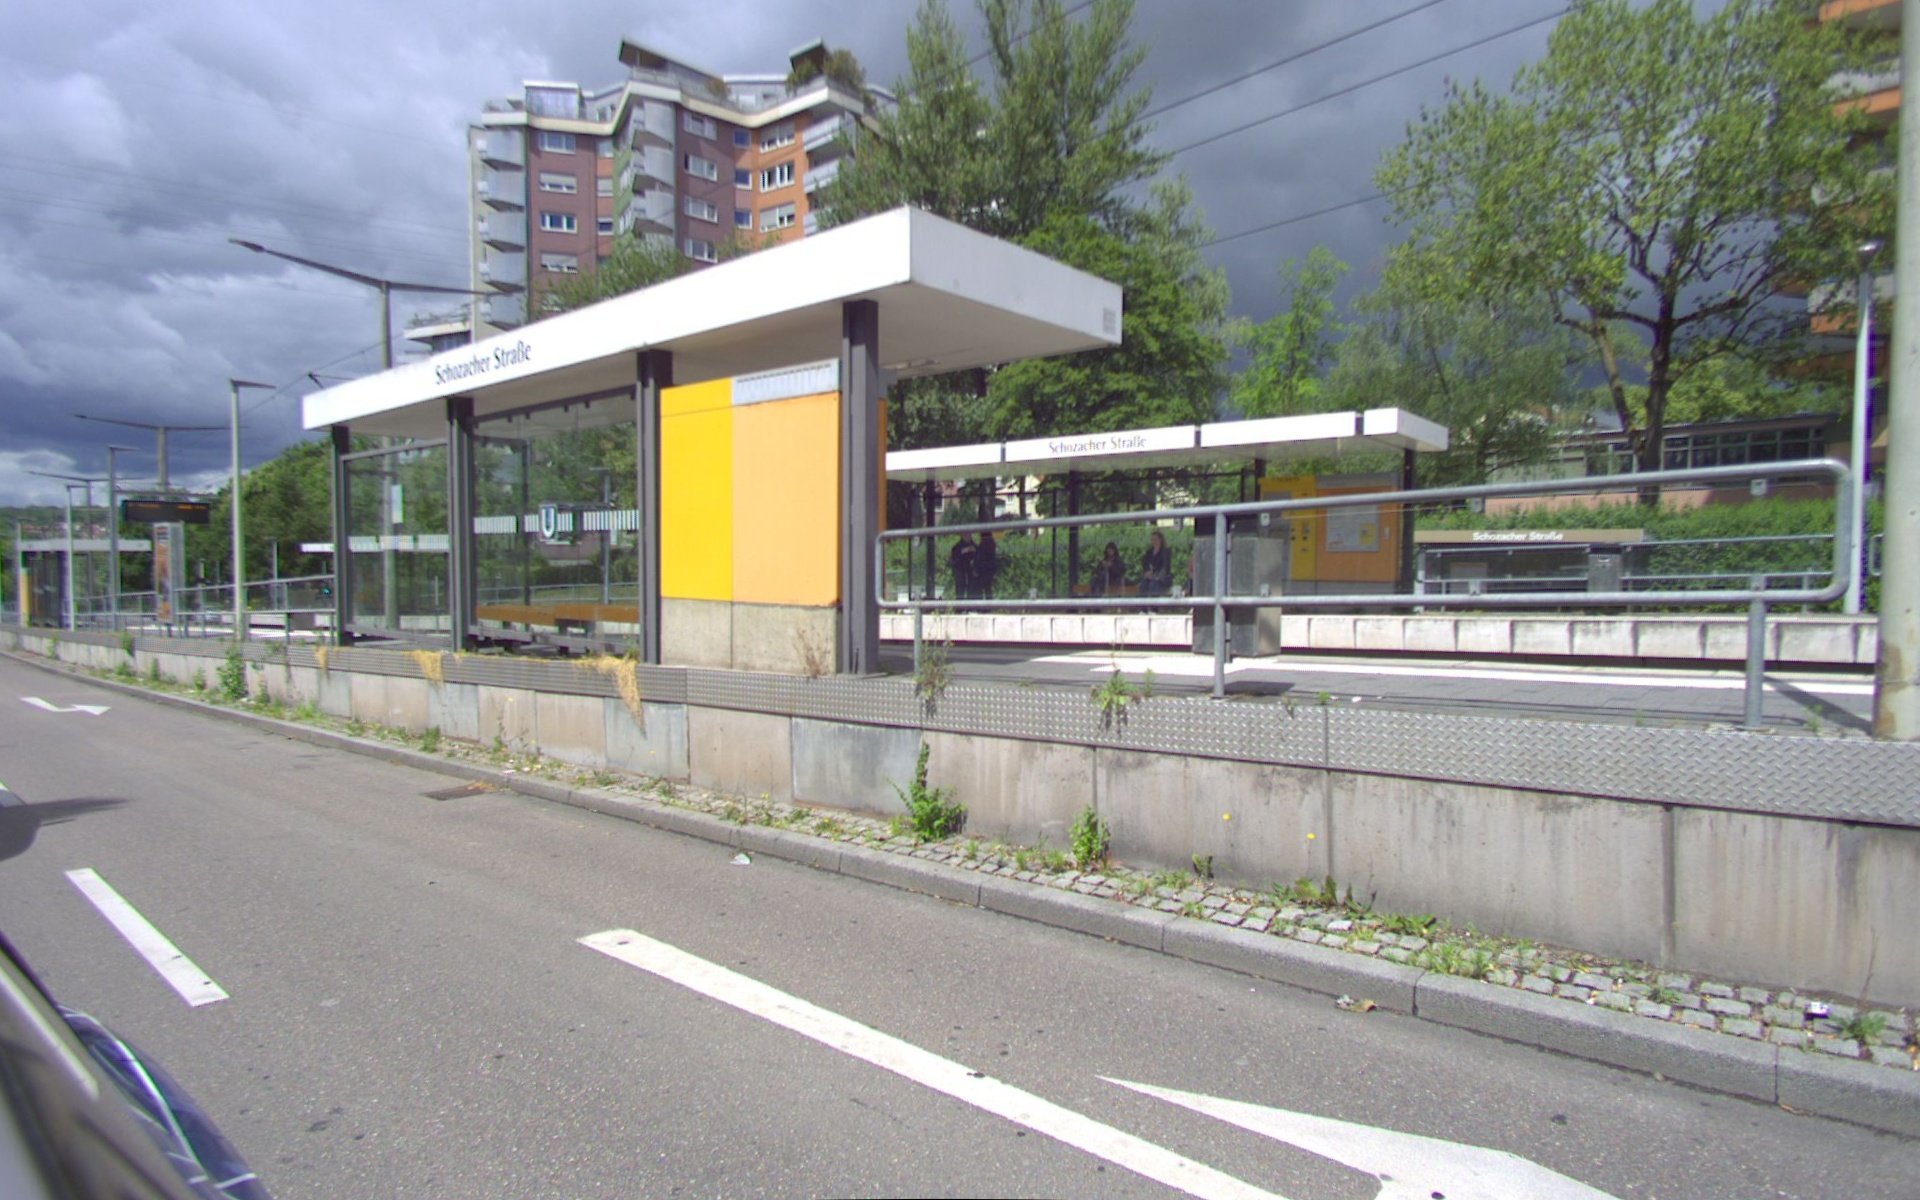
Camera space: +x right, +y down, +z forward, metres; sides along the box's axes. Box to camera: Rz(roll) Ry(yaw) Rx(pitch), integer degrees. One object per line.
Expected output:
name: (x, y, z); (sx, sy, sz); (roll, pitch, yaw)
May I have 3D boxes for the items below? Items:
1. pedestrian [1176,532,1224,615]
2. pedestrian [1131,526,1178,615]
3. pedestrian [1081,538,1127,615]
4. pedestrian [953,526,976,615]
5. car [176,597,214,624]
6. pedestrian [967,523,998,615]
pedestrian: (3.831, -0.416, 16.132); (0.463, 1.287, 0.704); (-1, 0, 40)
pedestrian: (3.207, -0.478, 16.685); (0.463, 1.428, 0.704); (-1, 0, 40)
pedestrian: (2.491, -0.398, 17.486); (0.463, 1.287, 0.704); (-1, 0, 40)
pedestrian: (0.090, -0.577, 19.870); (0.421, 1.726, 0.353); (-1, 0, -1)
car: (-60.463, 0.840, 79.991); (4.000, 2.029, 1.714); (-1, 0, 43)
pedestrian: (0.421, -0.581, 19.236); (0.544, 1.726, 0.386); (-1, 0, -2)
